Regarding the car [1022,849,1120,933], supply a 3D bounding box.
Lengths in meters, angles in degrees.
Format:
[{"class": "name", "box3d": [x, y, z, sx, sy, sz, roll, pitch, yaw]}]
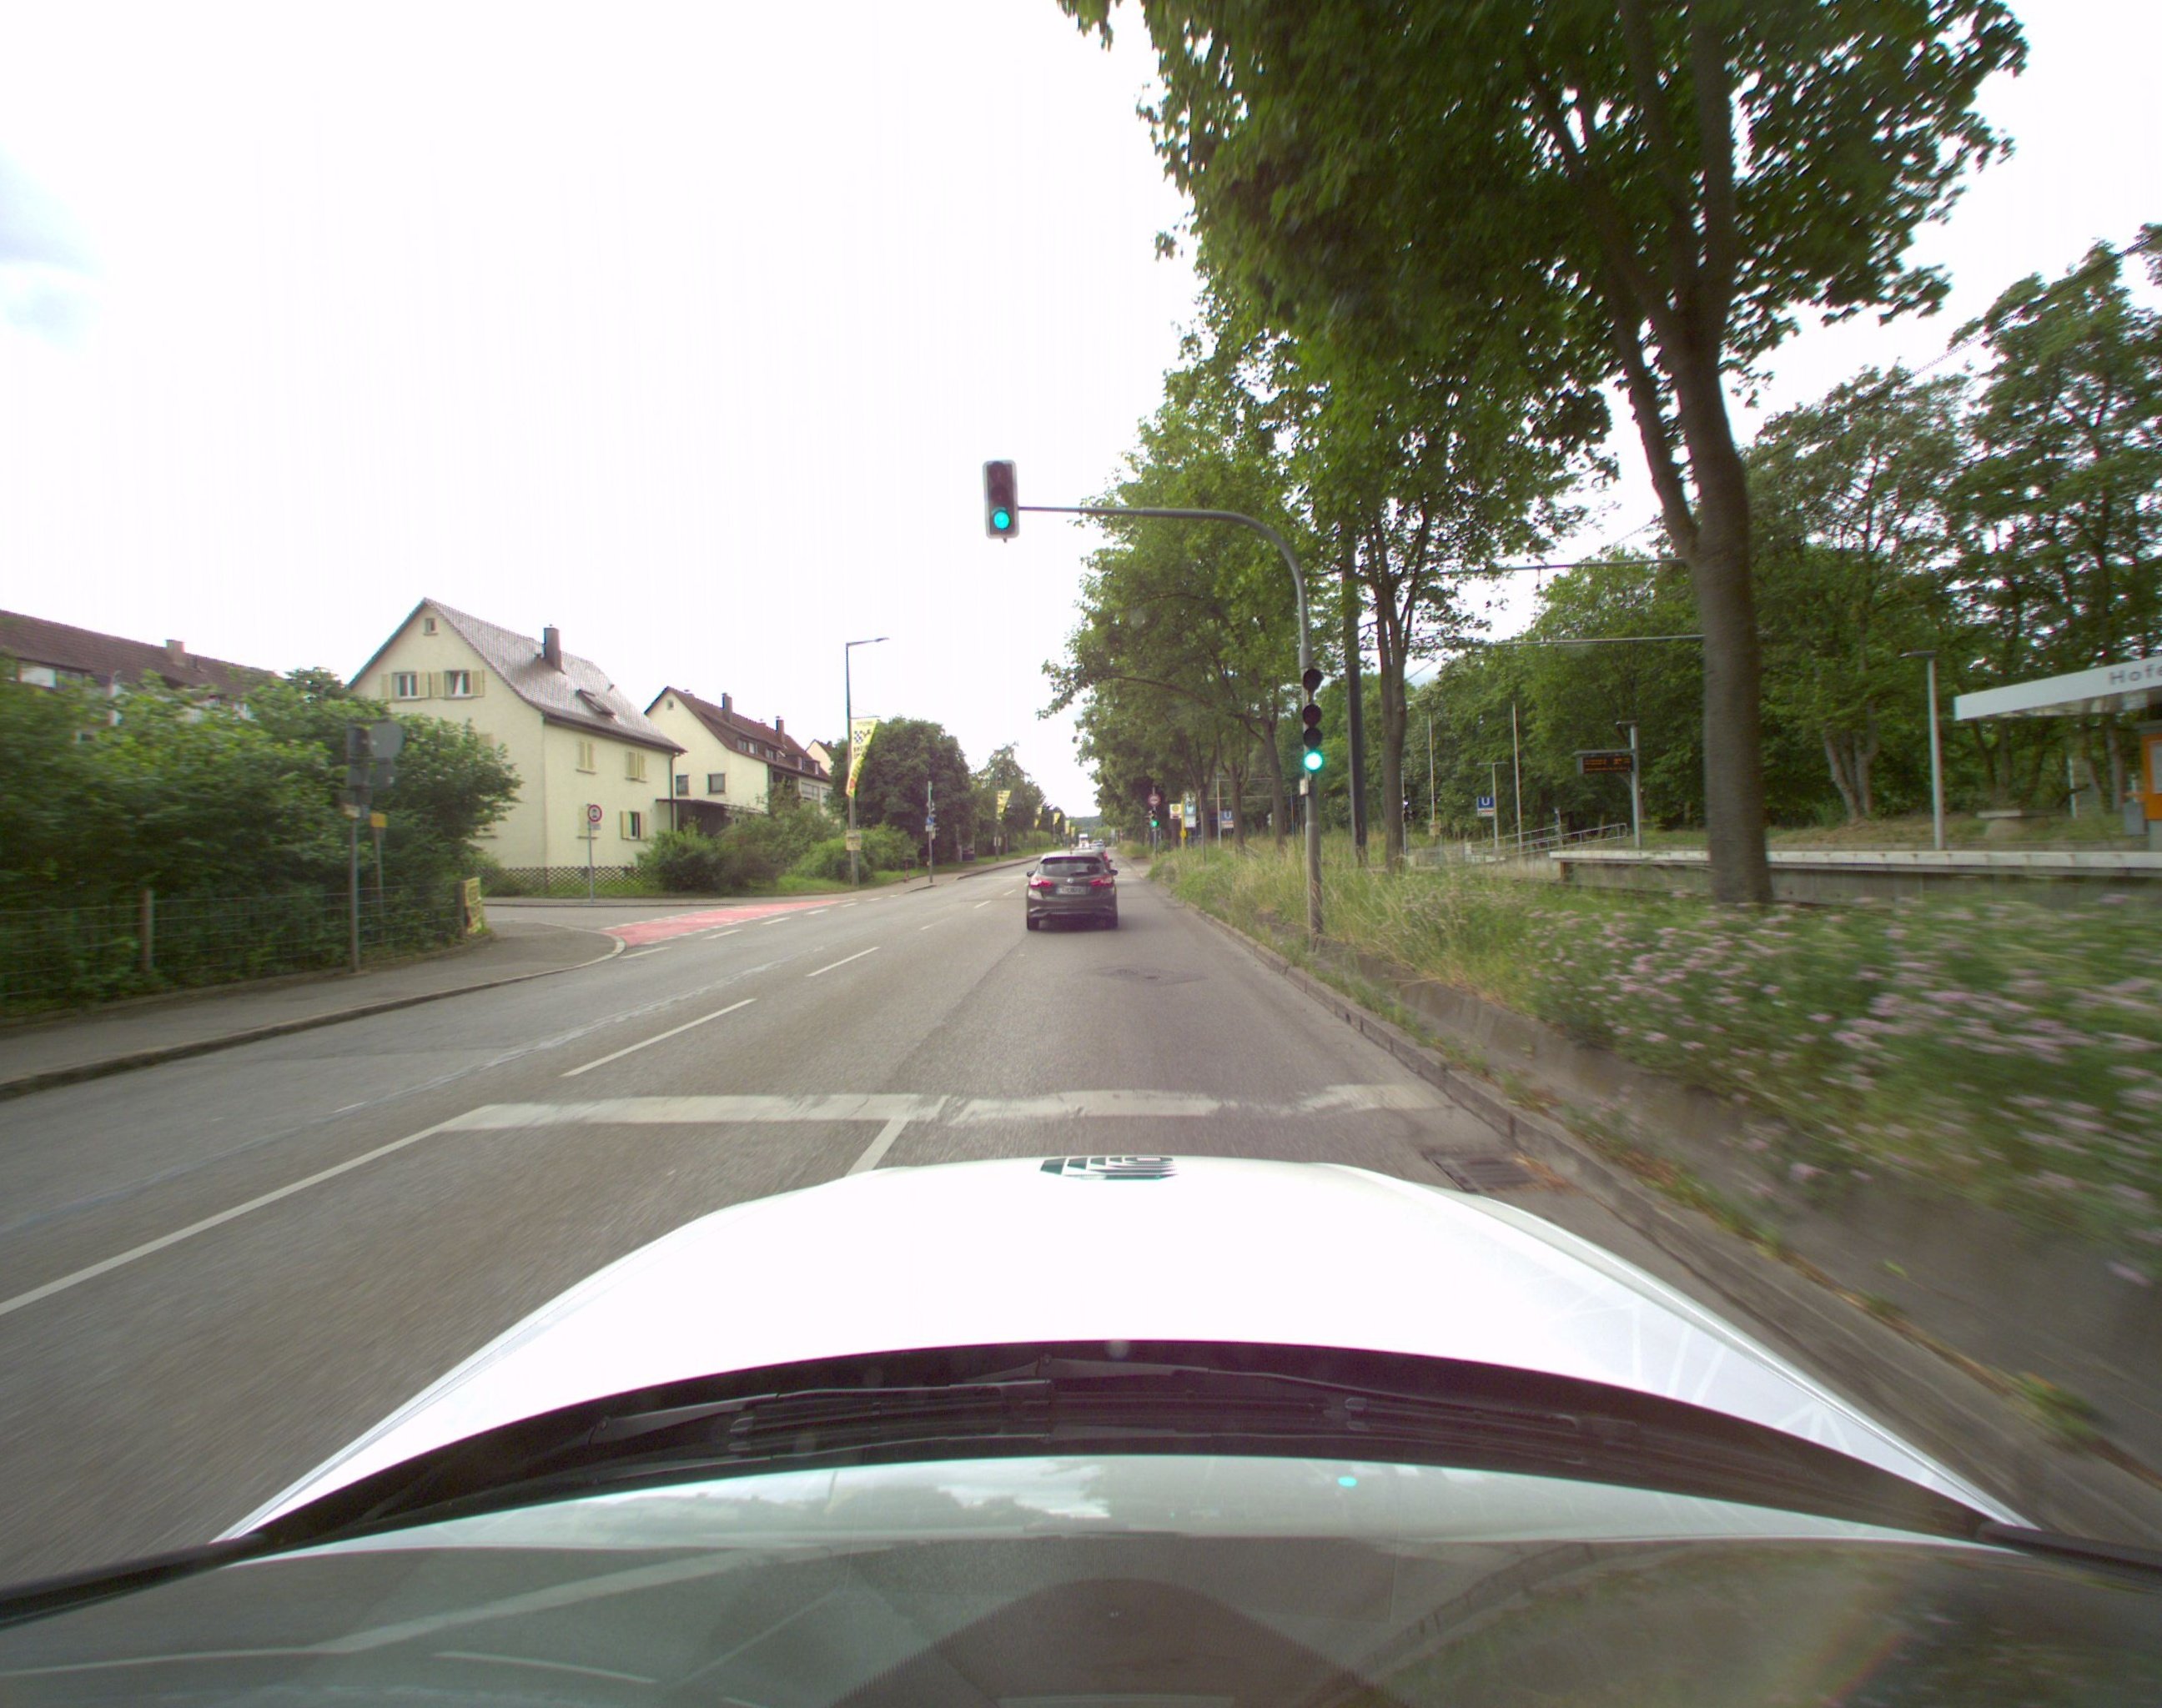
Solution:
[{"class": "car", "box3d": [-0.117, 0.675, 16.928, 1.777, 1.507, 3.698, -2, 0, 2]}]

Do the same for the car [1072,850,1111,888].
[{"class": "car", "box3d": [0.449, 0.563, 33.326, 1.496, 1.441, 3.543, -1, 0, 2]}]

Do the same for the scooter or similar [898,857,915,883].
[{"class": "scooter or similar", "box3d": [-8.970, 0.817, 41.904, 0.460, 1.259, 1.427, -1, 0, 3]}]

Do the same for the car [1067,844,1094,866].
[{"class": "car", "box3d": [-0.001, 0.062, 55.215, 1.685, 1.441, 3.543, -1, 0, 1]}]

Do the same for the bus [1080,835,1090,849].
[{"class": "bus", "box3d": [1.107, -3.533, 236.738, 2.478, 4.025, 10.221, -2, 1, 2]}]

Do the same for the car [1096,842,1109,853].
[{"class": "car", "box3d": [2.953, -0.874, 111.257, 1.685, 1.441, 3.543, -1, 0, 1]}]

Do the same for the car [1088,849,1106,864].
[{"class": "car", "box3d": [1.616, 0.224, 81.553, 1.685, 1.441, 3.543, -1, 0, 1]}]
